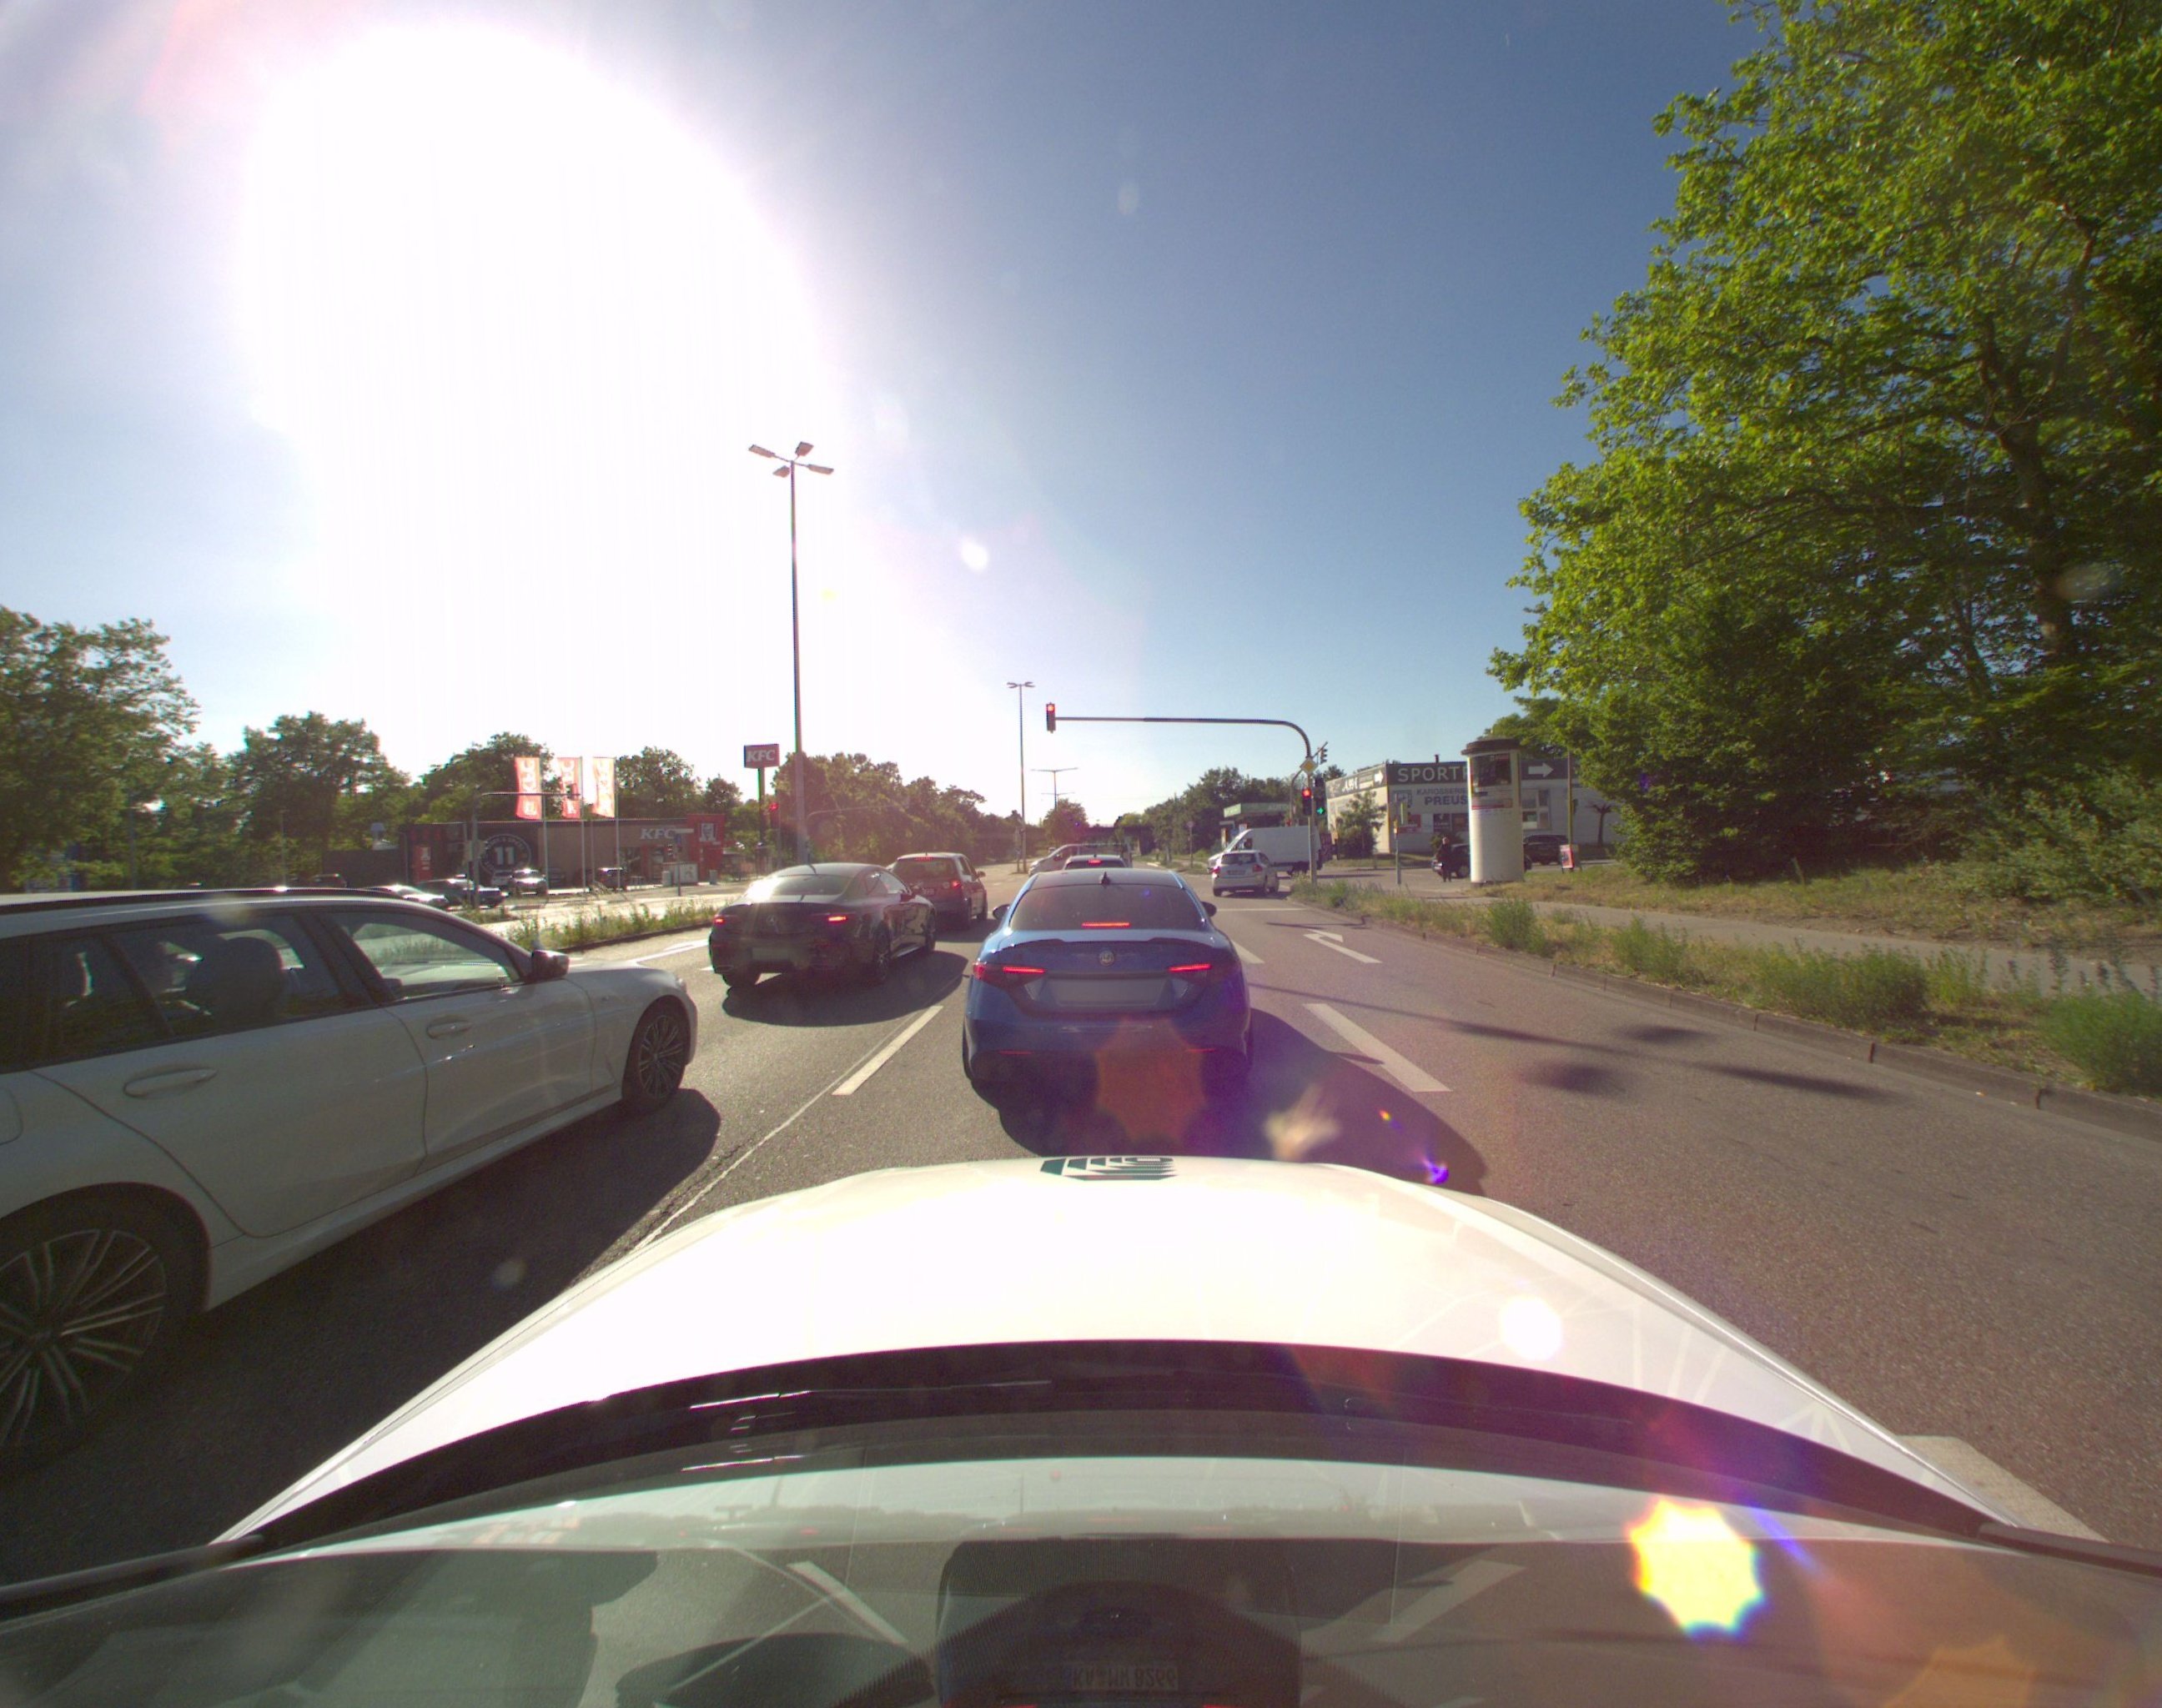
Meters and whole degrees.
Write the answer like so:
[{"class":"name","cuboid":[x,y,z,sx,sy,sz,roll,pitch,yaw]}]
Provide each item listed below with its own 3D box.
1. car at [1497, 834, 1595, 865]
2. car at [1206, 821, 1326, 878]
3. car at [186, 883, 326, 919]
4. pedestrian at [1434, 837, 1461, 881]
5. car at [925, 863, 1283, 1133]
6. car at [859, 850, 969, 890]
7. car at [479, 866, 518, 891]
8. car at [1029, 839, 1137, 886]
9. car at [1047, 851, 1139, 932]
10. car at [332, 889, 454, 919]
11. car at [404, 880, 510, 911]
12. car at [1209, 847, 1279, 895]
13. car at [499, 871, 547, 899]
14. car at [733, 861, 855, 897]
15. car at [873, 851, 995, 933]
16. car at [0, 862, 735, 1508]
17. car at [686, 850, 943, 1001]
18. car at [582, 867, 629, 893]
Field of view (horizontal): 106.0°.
[{"class":"car","cuboid":[24.042,-0.218,42.217,3.972,1.508,1.879,0,-1,2]},{"class":"car","cuboid":[9.584,-0.219,42.556,5.812,2.672,2.001,-3,-1,2]},{"class":"car","cuboid":[-39.091,2.193,38.672,4.608,1.579,1.936,0,-1,0]},{"class":"pedestrian","cuboid":[14.194,0.186,31.559,0.814,1.669,0.514,0,-1,1]},{"class":"car","cuboid":[0.227,0.787,6.211,1.901,1.423,3.722,0,-1,3]},{"class":"car","cuboid":[-7.158,0.665,35.064,4.336,1.650,1.621,0,-1,-33]},{"class":"car","cuboid":[-45.489,1.891,63.587,2.011,1.813,3.727,0,-1,-43]},{"class":"car","cuboid":[0.048,0.395,38.954,4.948,2.035,1.877,-2,-1,-6]},{"class":"car","cuboid":[0.332,0.721,16.973,1.696,1.497,3.722,0,-1,3]},{"class":"car","cuboid":[-32.178,2.319,38.189,4.070,1.252,1.871,0,-1,0]},{"class":"car","cuboid":[-31.915,2.097,41.732,3.941,1.453,1.936,0,-1,0]},{"class":"car","cuboid":[5.714,0.529,28.202,1.768,1.537,4.128,0,0,20]},{"class":"car","cuboid":[-37.375,2.026,54.536,1.946,1.740,4.046,0,-1,-45]},{"class":"car","cuboid":[-12.678,1.063,36.141,4.855,1.468,1.739,0,-1,-35]},{"class":"car","cuboid":[-3.005,0.739,17.600,1.806,1.551,4.353,0,-1,0]},{"class":"car","cuboid":[-3.421,0.825,3.398,1.805,1.486,4.599,-1,0,2]},{"class":"car","cuboid":[-3.171,0.747,10.799,1.806,1.551,4.544,-1,0,1]},{"class":"car","cuboid":[-33.908,1.826,58.007,1.946,1.740,4.046,0,-1,-45]}]
